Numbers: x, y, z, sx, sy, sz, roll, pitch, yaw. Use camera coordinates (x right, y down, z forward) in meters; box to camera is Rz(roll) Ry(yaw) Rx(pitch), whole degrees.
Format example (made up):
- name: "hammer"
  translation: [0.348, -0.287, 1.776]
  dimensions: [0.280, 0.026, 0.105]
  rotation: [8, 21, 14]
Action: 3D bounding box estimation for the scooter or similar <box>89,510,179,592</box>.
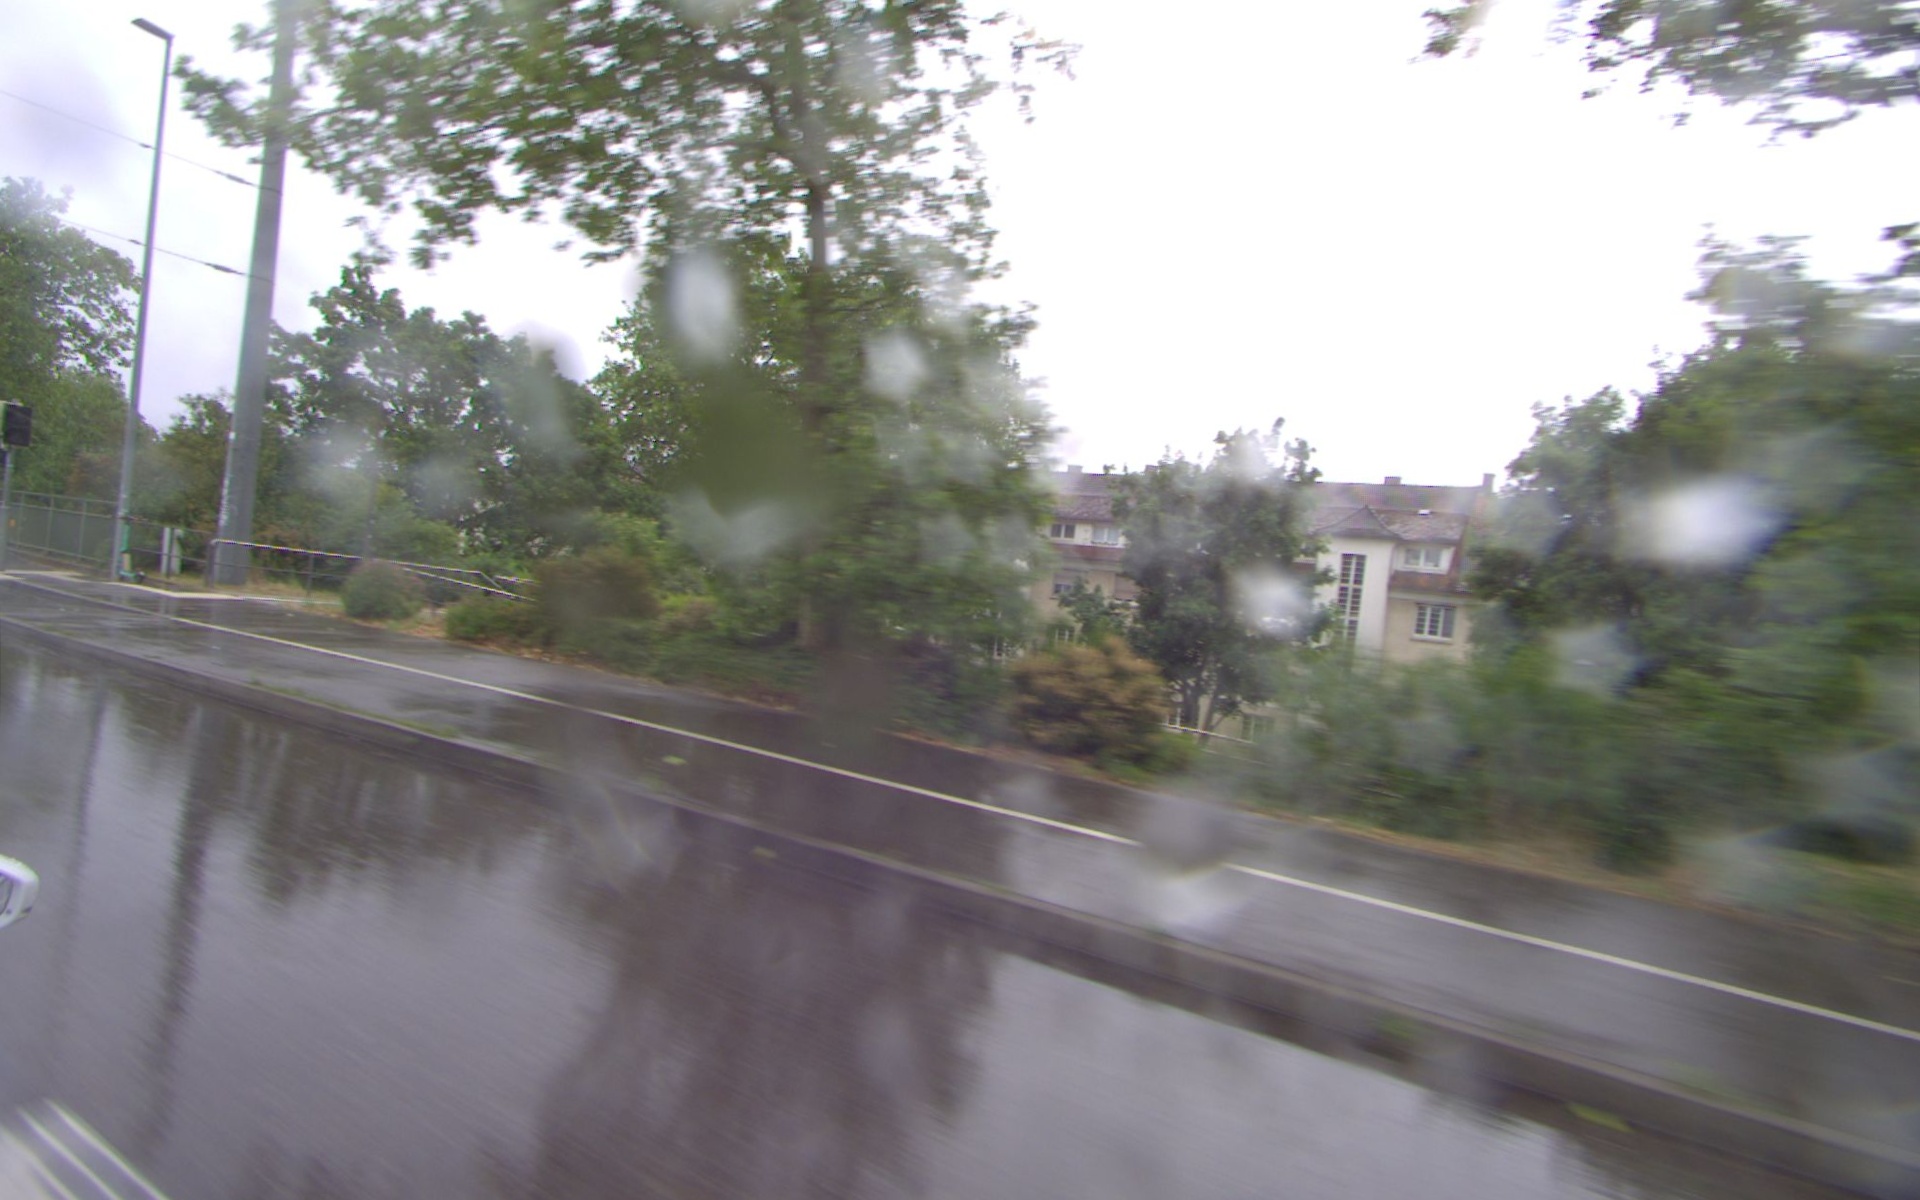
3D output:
- name: "scooter or similar"
  translation: [-15.211, -0.908, 18.516]
  dimensions: [1.620, 1.308, 0.760]
  rotation: [6, 0, 34]
